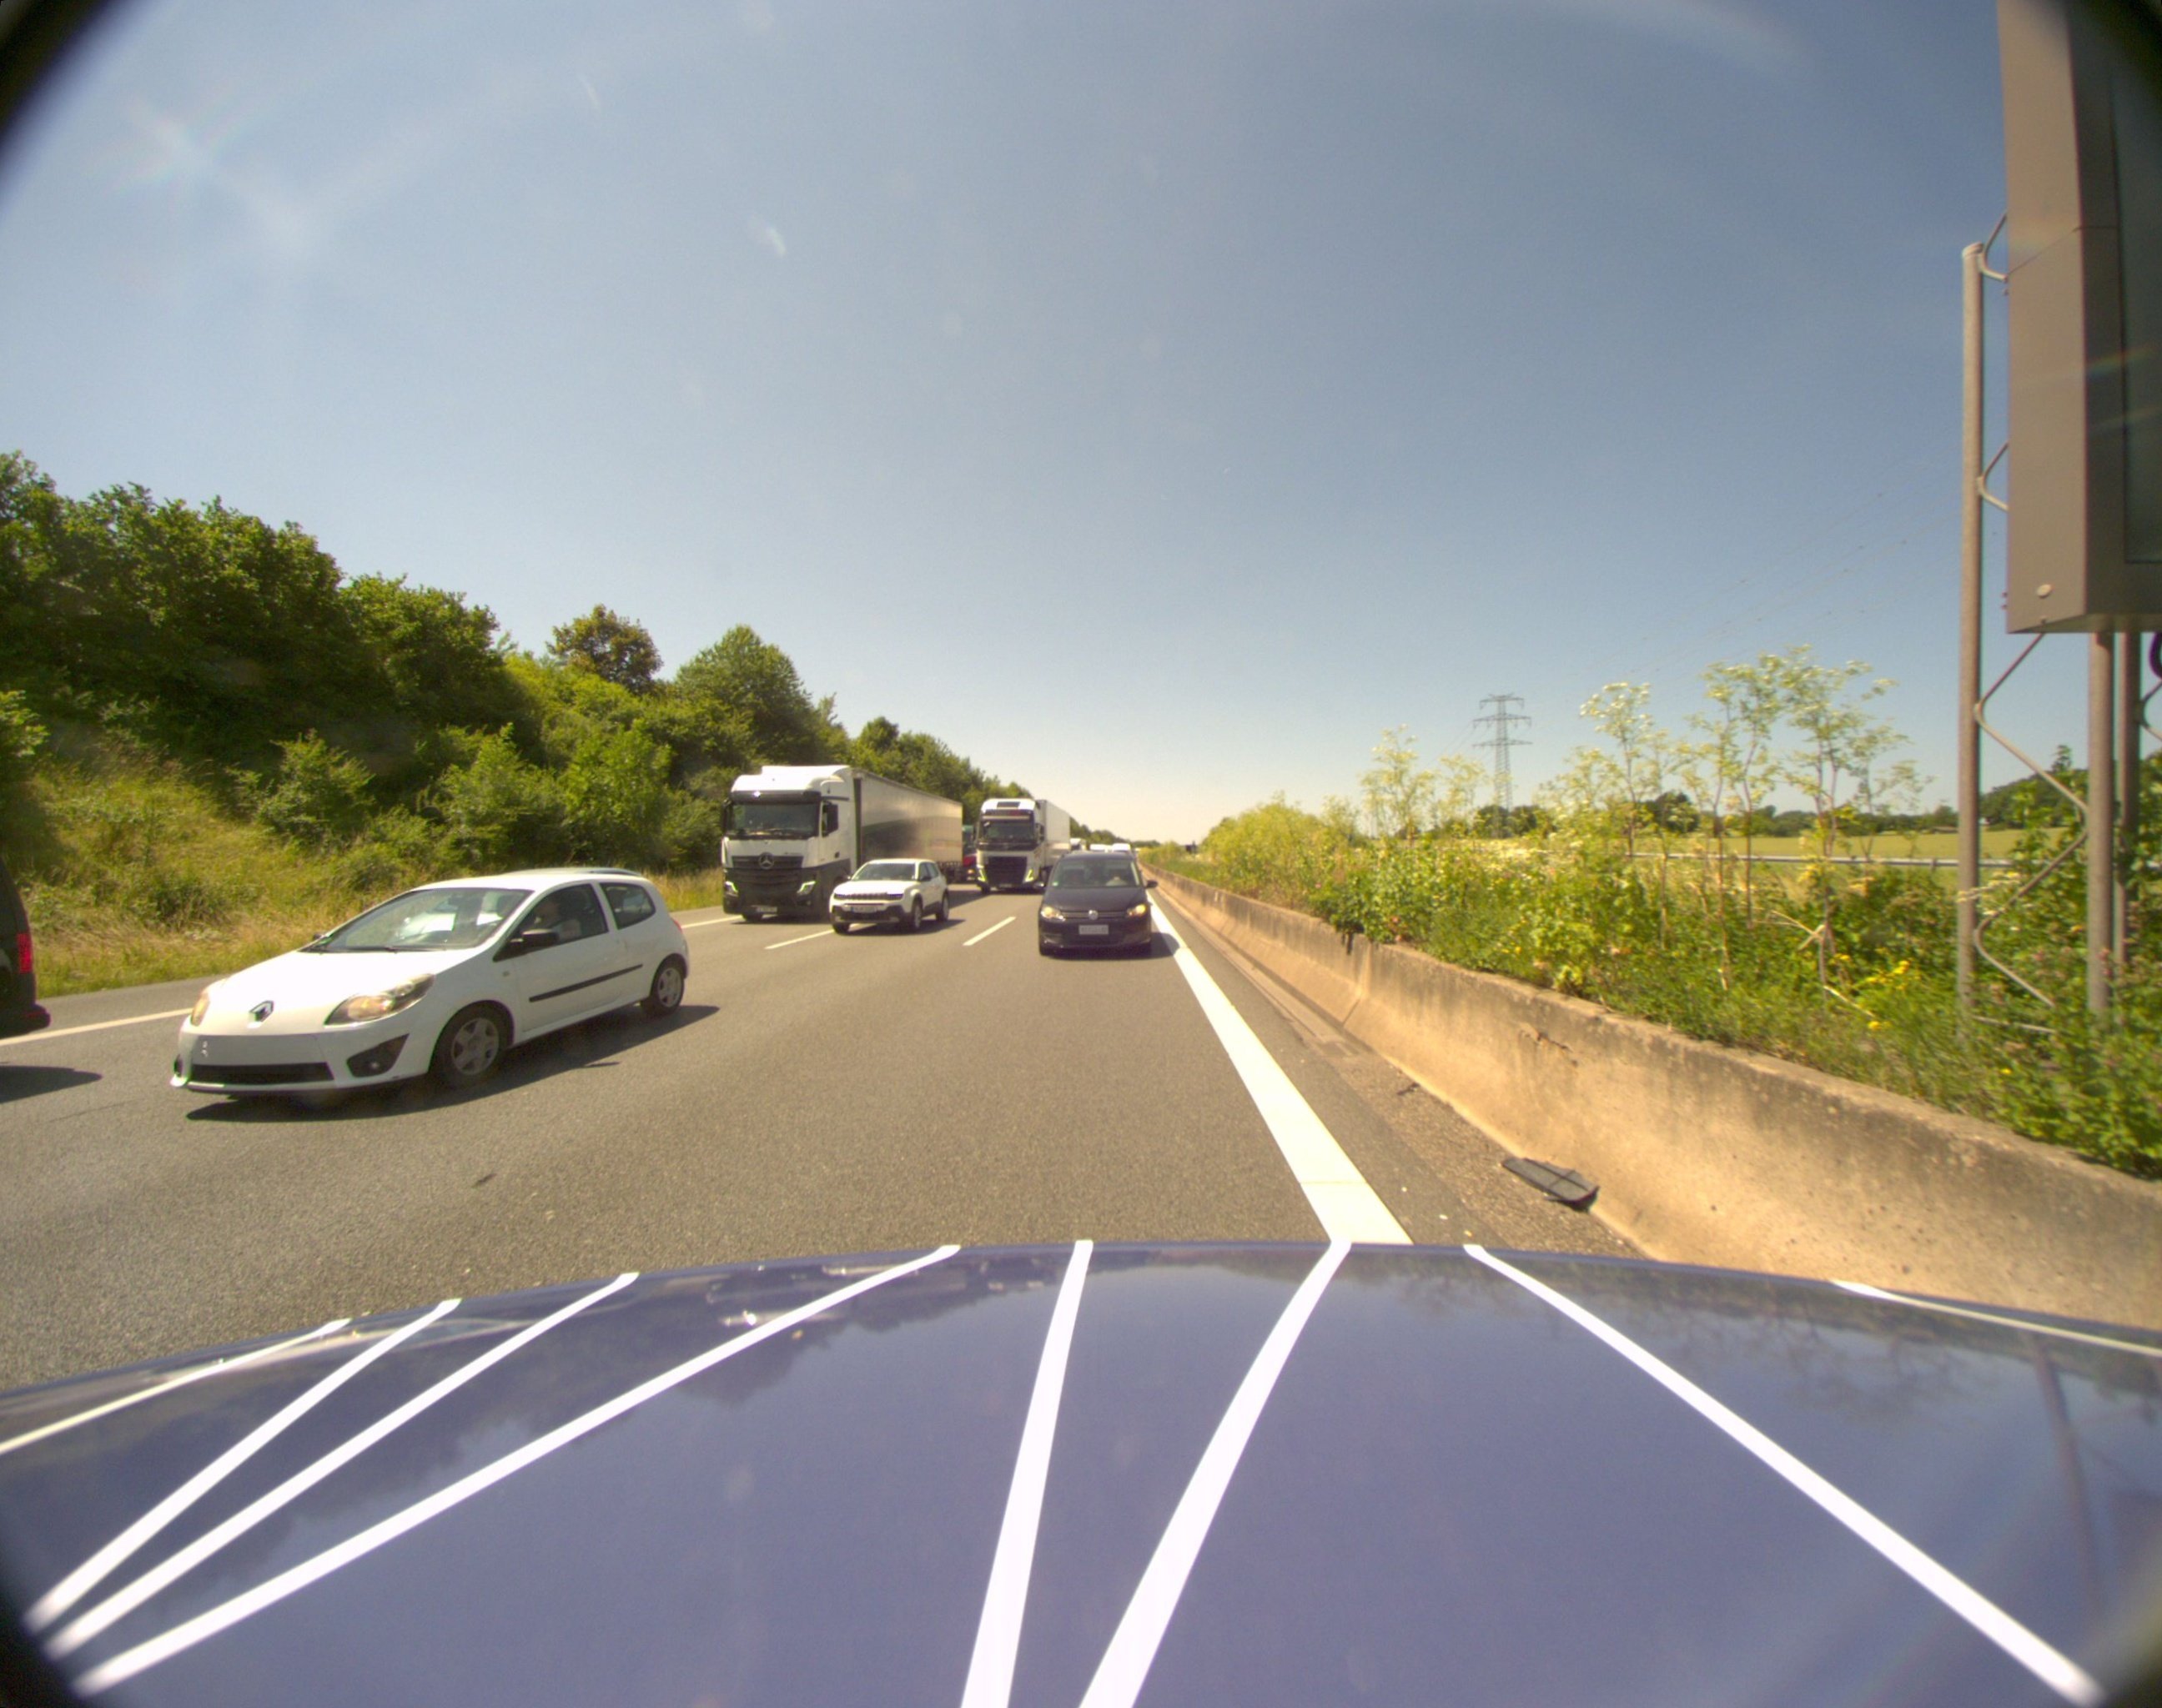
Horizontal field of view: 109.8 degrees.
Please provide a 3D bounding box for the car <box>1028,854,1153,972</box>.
[{"bbox_3d":[0.294,0.833,13.364,1.758,1.571,5.291,0,1,3],"label":"car"}]

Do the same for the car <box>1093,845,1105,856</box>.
[{"bbox_3d":[2.780,-0.485,117.026,1.652,1.636,4.001,-1,1,4],"label":"car"}]

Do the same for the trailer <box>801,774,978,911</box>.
[{"bbox_3d":[-6.625,-0.418,29.067,2.879,4.133,12.077,-1,1,4],"label":"trailer"}]

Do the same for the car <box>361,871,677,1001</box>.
[{"bbox_3d":[-7.945,1.050,11.288,1.666,1.453,3.922,1,1,2],"label":"car"}]

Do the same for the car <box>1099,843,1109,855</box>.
[{"bbox_3d":[4.469,-1.026,147.744,1.998,2.302,4.229,-1,1,2],"label":"car"}]

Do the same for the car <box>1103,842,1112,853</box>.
[{"bbox_3d":[5.850,-1.483,166.669,1.998,2.302,4.230,-1,1,4],"label":"car"}]

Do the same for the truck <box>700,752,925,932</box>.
[{"bbox_3d":[-7.140,-0.319,21.939,2.879,4.133,8.476,-1,1,4],"label":"truck"}]

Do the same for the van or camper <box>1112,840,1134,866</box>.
[{"bbox_3d":[4.165,-0.134,74.928,1.956,2.368,4.037,-2,1,4],"label":"van or camper"}]

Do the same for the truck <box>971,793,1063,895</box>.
[{"bbox_3d":[-2.618,-0.433,34.079,2.749,3.972,8.362,-1,1,4],"label":"truck"}]

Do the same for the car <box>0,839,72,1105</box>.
[{"bbox_3d":[-8.928,0.900,3.487,1.918,1.929,4.856,0,1,3],"label":"car"}]

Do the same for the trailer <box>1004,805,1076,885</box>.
[{"bbox_3d":[-2.061,-0.502,42.109,2.775,3.951,9.157,-1,1,4],"label":"trailer"}]

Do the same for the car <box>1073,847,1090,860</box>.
[{"bbox_3d":[0.084,-0.067,81.625,1.650,1.336,3.382,-1,1,4],"label":"car"}]

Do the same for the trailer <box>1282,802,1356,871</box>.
[{"bbox_3d":[18.589,-1.339,60.072,3.330,5.018,9.591,-1,1,3],"label":"trailer"}]

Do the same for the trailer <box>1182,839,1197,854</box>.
[{"bbox_3d":[28.634,-1.902,200.286,3.190,3.740,8.201,0,0,3],"label":"trailer"}]

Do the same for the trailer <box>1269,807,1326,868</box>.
[{"bbox_3d":[18.988,-1.420,67.140,3.330,5.018,6.704,-1,1,3],"label":"trailer"}]

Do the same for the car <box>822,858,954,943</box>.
[{"bbox_3d":[-4.157,0.933,17.001,1.747,1.549,3.885,1,1,3],"label":"car"}]

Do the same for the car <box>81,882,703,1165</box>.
[{"bbox_3d":[-4.986,1.061,6.352,1.609,1.426,3.810,1,1,3],"label":"car"}]

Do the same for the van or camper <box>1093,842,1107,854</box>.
[{"bbox_3d":[3.358,-0.981,131.316,2.189,2.018,4.365,-1,1,4],"label":"van or camper"}]

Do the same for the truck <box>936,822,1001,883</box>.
[{"bbox_3d":[-6.134,-0.117,42.226,2.299,3.128,5.676,-1,1,4],"label":"truck"}]

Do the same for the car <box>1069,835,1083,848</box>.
[{"bbox_3d":[-0.773,-2.068,123.638,1.998,2.002,4.000,-1,1,3],"label":"car"}]

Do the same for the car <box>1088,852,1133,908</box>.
[{"bbox_3d":[1.021,0.812,25.144,1.357,1.630,2.994,-2,1,4],"label":"car"}]
